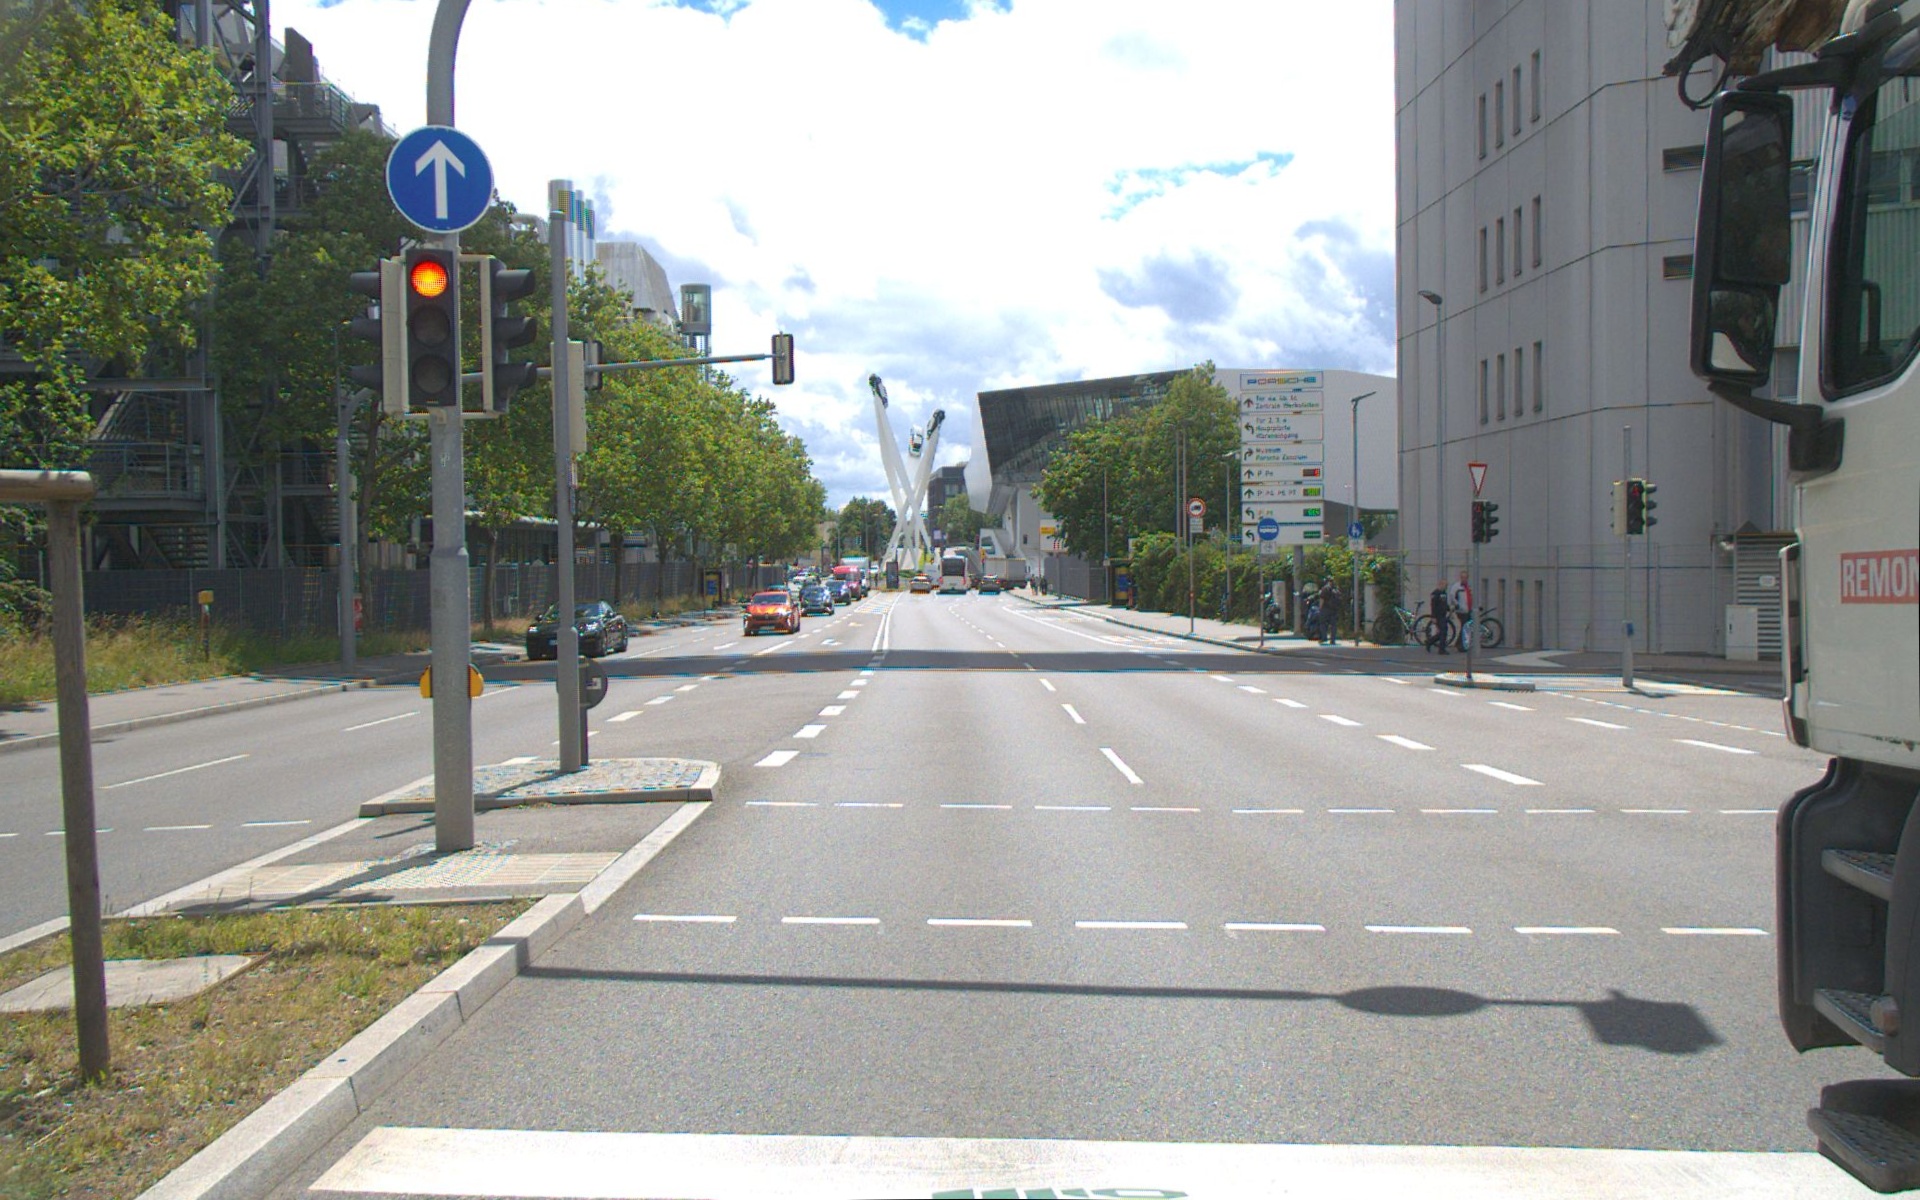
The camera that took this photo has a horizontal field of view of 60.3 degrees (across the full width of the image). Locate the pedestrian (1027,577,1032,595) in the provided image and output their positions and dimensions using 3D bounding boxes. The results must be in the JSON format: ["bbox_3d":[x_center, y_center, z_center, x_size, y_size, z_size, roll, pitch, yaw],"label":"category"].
[{"bbox_3d":[5.747,-1.182,137.294,0.378,1.446,0.423,1,-1,0],"label":"pedestrian"}]

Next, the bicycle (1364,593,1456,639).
[{"bbox_3d":[11.152,0.381,41.030,2.180,1.105,0.475,1,-1,35],"label":"bicycle"}]

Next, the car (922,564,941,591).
[{"bbox_3d":[-2.963,-2.341,171.107,1.806,2.669,3.999,1,0,-1],"label":"car"}]

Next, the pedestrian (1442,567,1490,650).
[{"bbox_3d":[11.500,0.195,37.609,0.684,1.825,0.705,-3,1,-30],"label":"pedestrian"}]

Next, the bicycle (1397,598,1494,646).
[{"bbox_3d":[11.637,0.523,39.705,2.180,1.105,0.475,1,-1,35],"label":"bicycle"}]

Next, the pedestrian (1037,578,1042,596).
[{"bbox_3d":[6.526,-1.044,136.236,0.378,1.446,0.423,1,-1,0],"label":"pedestrian"}]

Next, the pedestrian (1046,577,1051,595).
[{"bbox_3d":[7.260,-1.164,135.258,0.378,1.446,0.423,1,-1,0],"label":"pedestrian"}]

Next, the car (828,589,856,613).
[{"bbox_3d":[-7.595,0.039,106.665,1.525,1.473,3.772,-2,0,0],"label":"car"}]

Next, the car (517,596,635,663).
[{"bbox_3d":[-9.846,0.716,42.751,1.878,1.514,4.772,-2,0,0],"label":"car"}]

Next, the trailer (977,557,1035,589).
[{"bbox_3d":[4.874,-2.722,172.301,3.250,3.047,10.380,1,0,18],"label":"trailer"}]

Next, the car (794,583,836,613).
[{"bbox_3d":[-7.315,-0.115,83.870,1.733,1.445,3.701,-2,0,0],"label":"car"}]

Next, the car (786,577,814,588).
[{"bbox_3d":[-21.920,-2.365,226.975,1.535,1.295,3.678,-2,1,43],"label":"car"}]

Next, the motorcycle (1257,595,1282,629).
[{"bbox_3d":[9.739,0.365,52.146,0.448,1.040,1.913,1,0,1],"label":"motorcycle"}]

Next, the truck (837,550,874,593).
[{"bbox_3d":[-8.572,-2.293,136.289,2.538,3.382,7.078,1,0,0],"label":"truck"}]

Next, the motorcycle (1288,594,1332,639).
[{"bbox_3d":[9.547,0.447,45.159,0.410,1.186,1.951,1,0,-11],"label":"motorcycle"}]

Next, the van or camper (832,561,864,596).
[{"bbox_3d":[-8.224,-1.601,121.747,2.005,2.509,5.594,0,0,0],"label":"van or camper"}]

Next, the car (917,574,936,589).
[{"bbox_3d":[-2.999,-1.683,148.654,1.525,1.295,3.701,-2,0,1],"label":"car"}]

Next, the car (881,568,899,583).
[{"bbox_3d":[-6.585,-2.326,155.558,1.525,1.295,3.701,-2,0,0],"label":"car"}]

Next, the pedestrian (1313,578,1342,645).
[{"bbox_3d":[9.341,0.290,42.031,0.523,1.669,0.657,1,-1,-6],"label":"pedestrian"}]

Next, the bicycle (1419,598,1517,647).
[{"bbox_3d":[11.915,0.524,38.850,2.149,1.105,0.475,1,-1,35],"label":"bicycle"}]

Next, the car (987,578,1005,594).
[{"bbox_3d":[3.140,-1.234,146.231,1.525,1.295,3.701,-2,0,1],"label":"car"}]

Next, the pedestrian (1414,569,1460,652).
[{"bbox_3d":[10.760,0.238,37.317,0.634,1.825,0.705,-3,1,-31],"label":"pedestrian"}]

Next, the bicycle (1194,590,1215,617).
[{"bbox_3d":[9.669,0.150,65.406,0.410,1.040,1.910,1,0,-5],"label":"bicycle"}]

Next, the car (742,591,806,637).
[{"bbox_3d":[-6.407,0.451,57.155,1.733,1.445,3.701,-2,0,0],"label":"car"}]

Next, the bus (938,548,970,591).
[{"bbox_3d":[-0.532,-2.720,150.118,2.730,3.750,6.942,1,0,0],"label":"bus"}]
